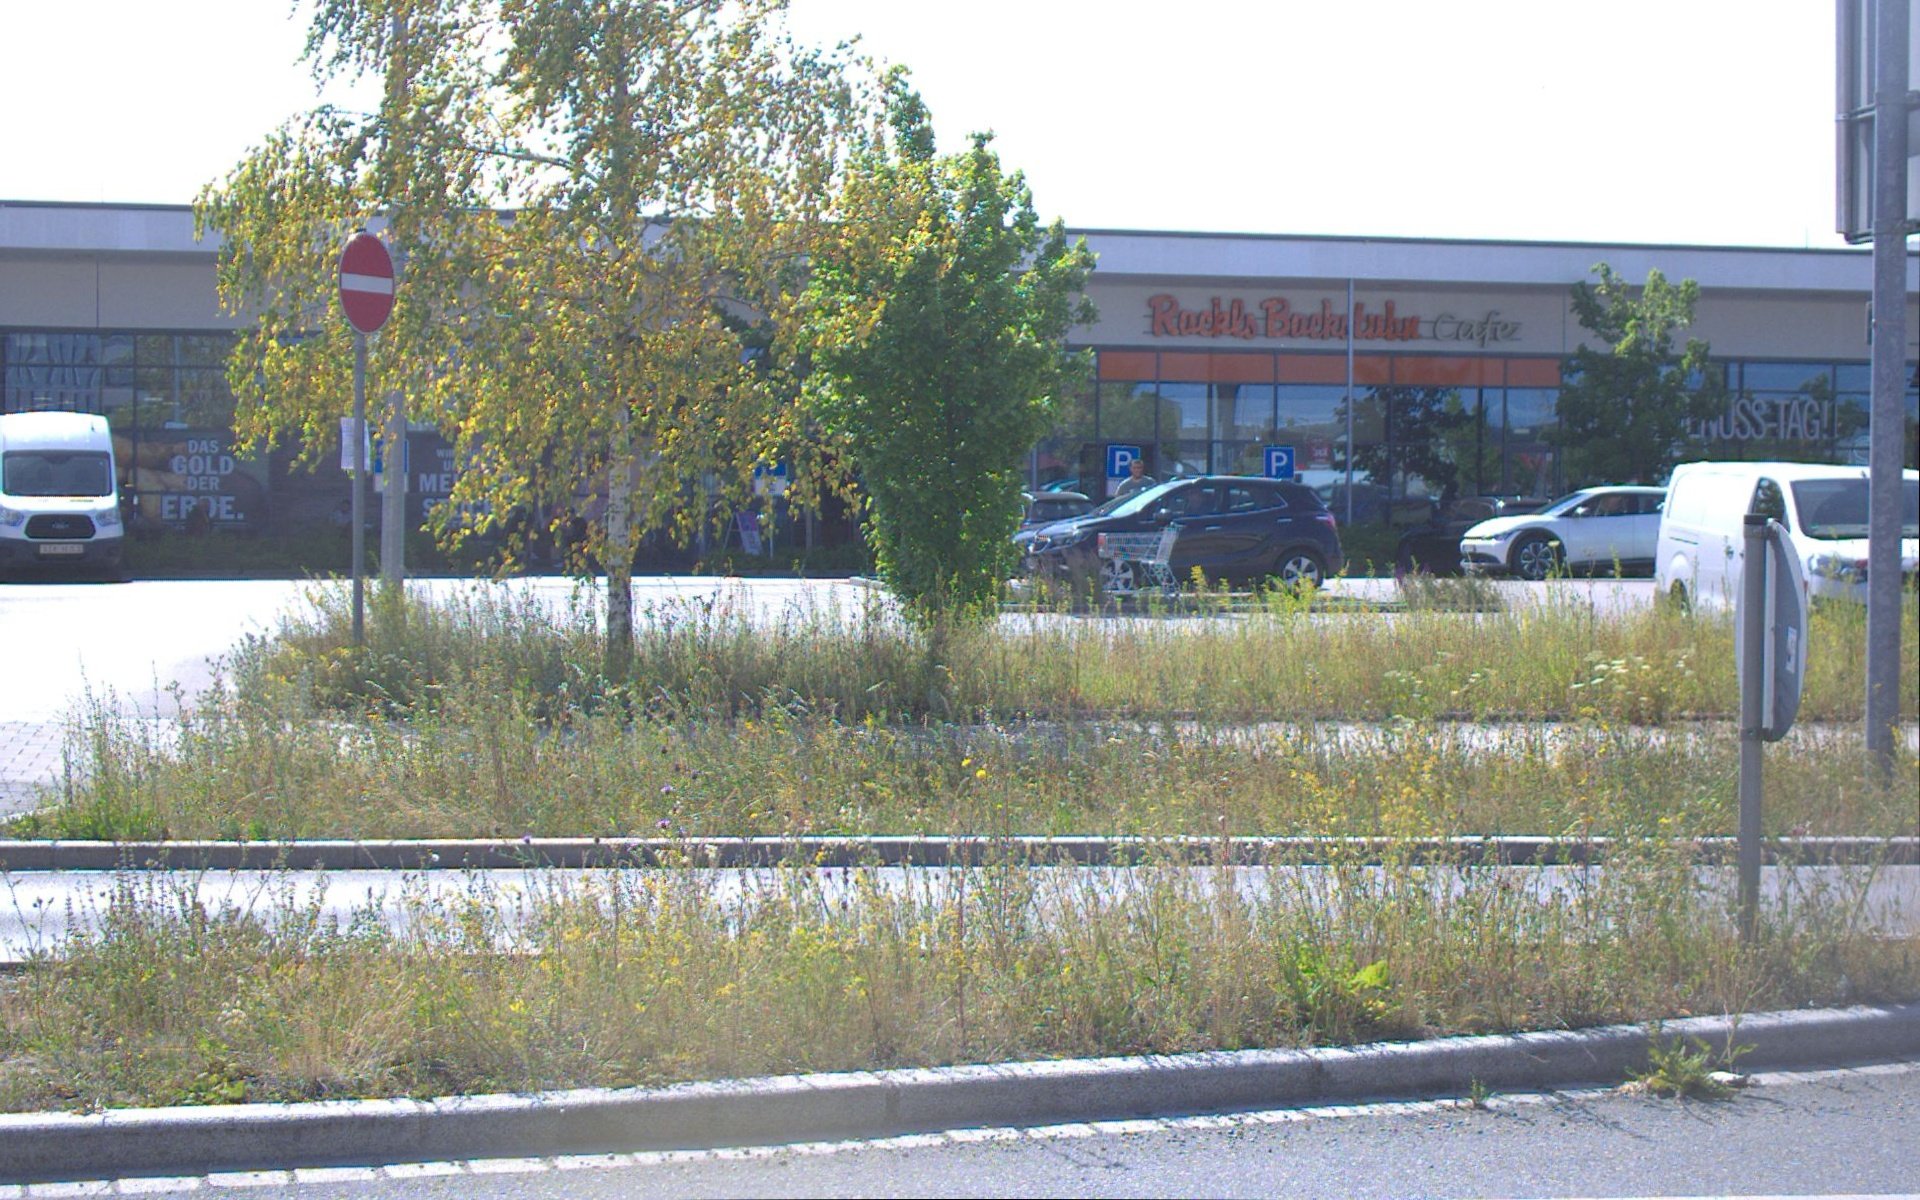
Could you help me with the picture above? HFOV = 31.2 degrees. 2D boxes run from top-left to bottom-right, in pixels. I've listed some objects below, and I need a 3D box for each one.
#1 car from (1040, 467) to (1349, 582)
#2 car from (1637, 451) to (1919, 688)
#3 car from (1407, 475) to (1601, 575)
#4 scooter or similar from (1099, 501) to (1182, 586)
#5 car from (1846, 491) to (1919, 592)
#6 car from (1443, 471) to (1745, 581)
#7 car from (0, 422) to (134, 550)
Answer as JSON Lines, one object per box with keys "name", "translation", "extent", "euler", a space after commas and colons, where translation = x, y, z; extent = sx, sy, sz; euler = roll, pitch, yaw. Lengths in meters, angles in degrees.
{"name": "car", "translation": [3.127, -1.020, 46.180], "extent": [3.792, 1.503, 1.732], "euler": [0, 2, -13]}
{"name": "car", "translation": [8.074, -0.349, 31.878], "extent": [2.080, 2.006, 5.230], "euler": [1, 2, -5]}
{"name": "car", "translation": [9.675, -1.365, 61.437], "extent": [1.993, 1.701, 4.002], "euler": [0, 2, -14]}
{"name": "scooter or similar", "translation": [2.317, -0.729, 44.303], "extent": [0.943, 1.075, 0.652], "euler": [0, 2, -9]}
{"name": "car", "translation": [14.740, -0.844, 48.974], "extent": [3.718, 1.386, 1.733], "euler": [0, 2, -16]}
{"name": "car", "translation": [10.406, -1.219, 56.557], "extent": [4.470, 1.700, 1.875], "euler": [1, 1, -10]}
{"name": "car", "translation": [-14.855, -1.883, 56.226], "extent": [2.222, 1.970, 6.699], "euler": [0, 2, -17]}
